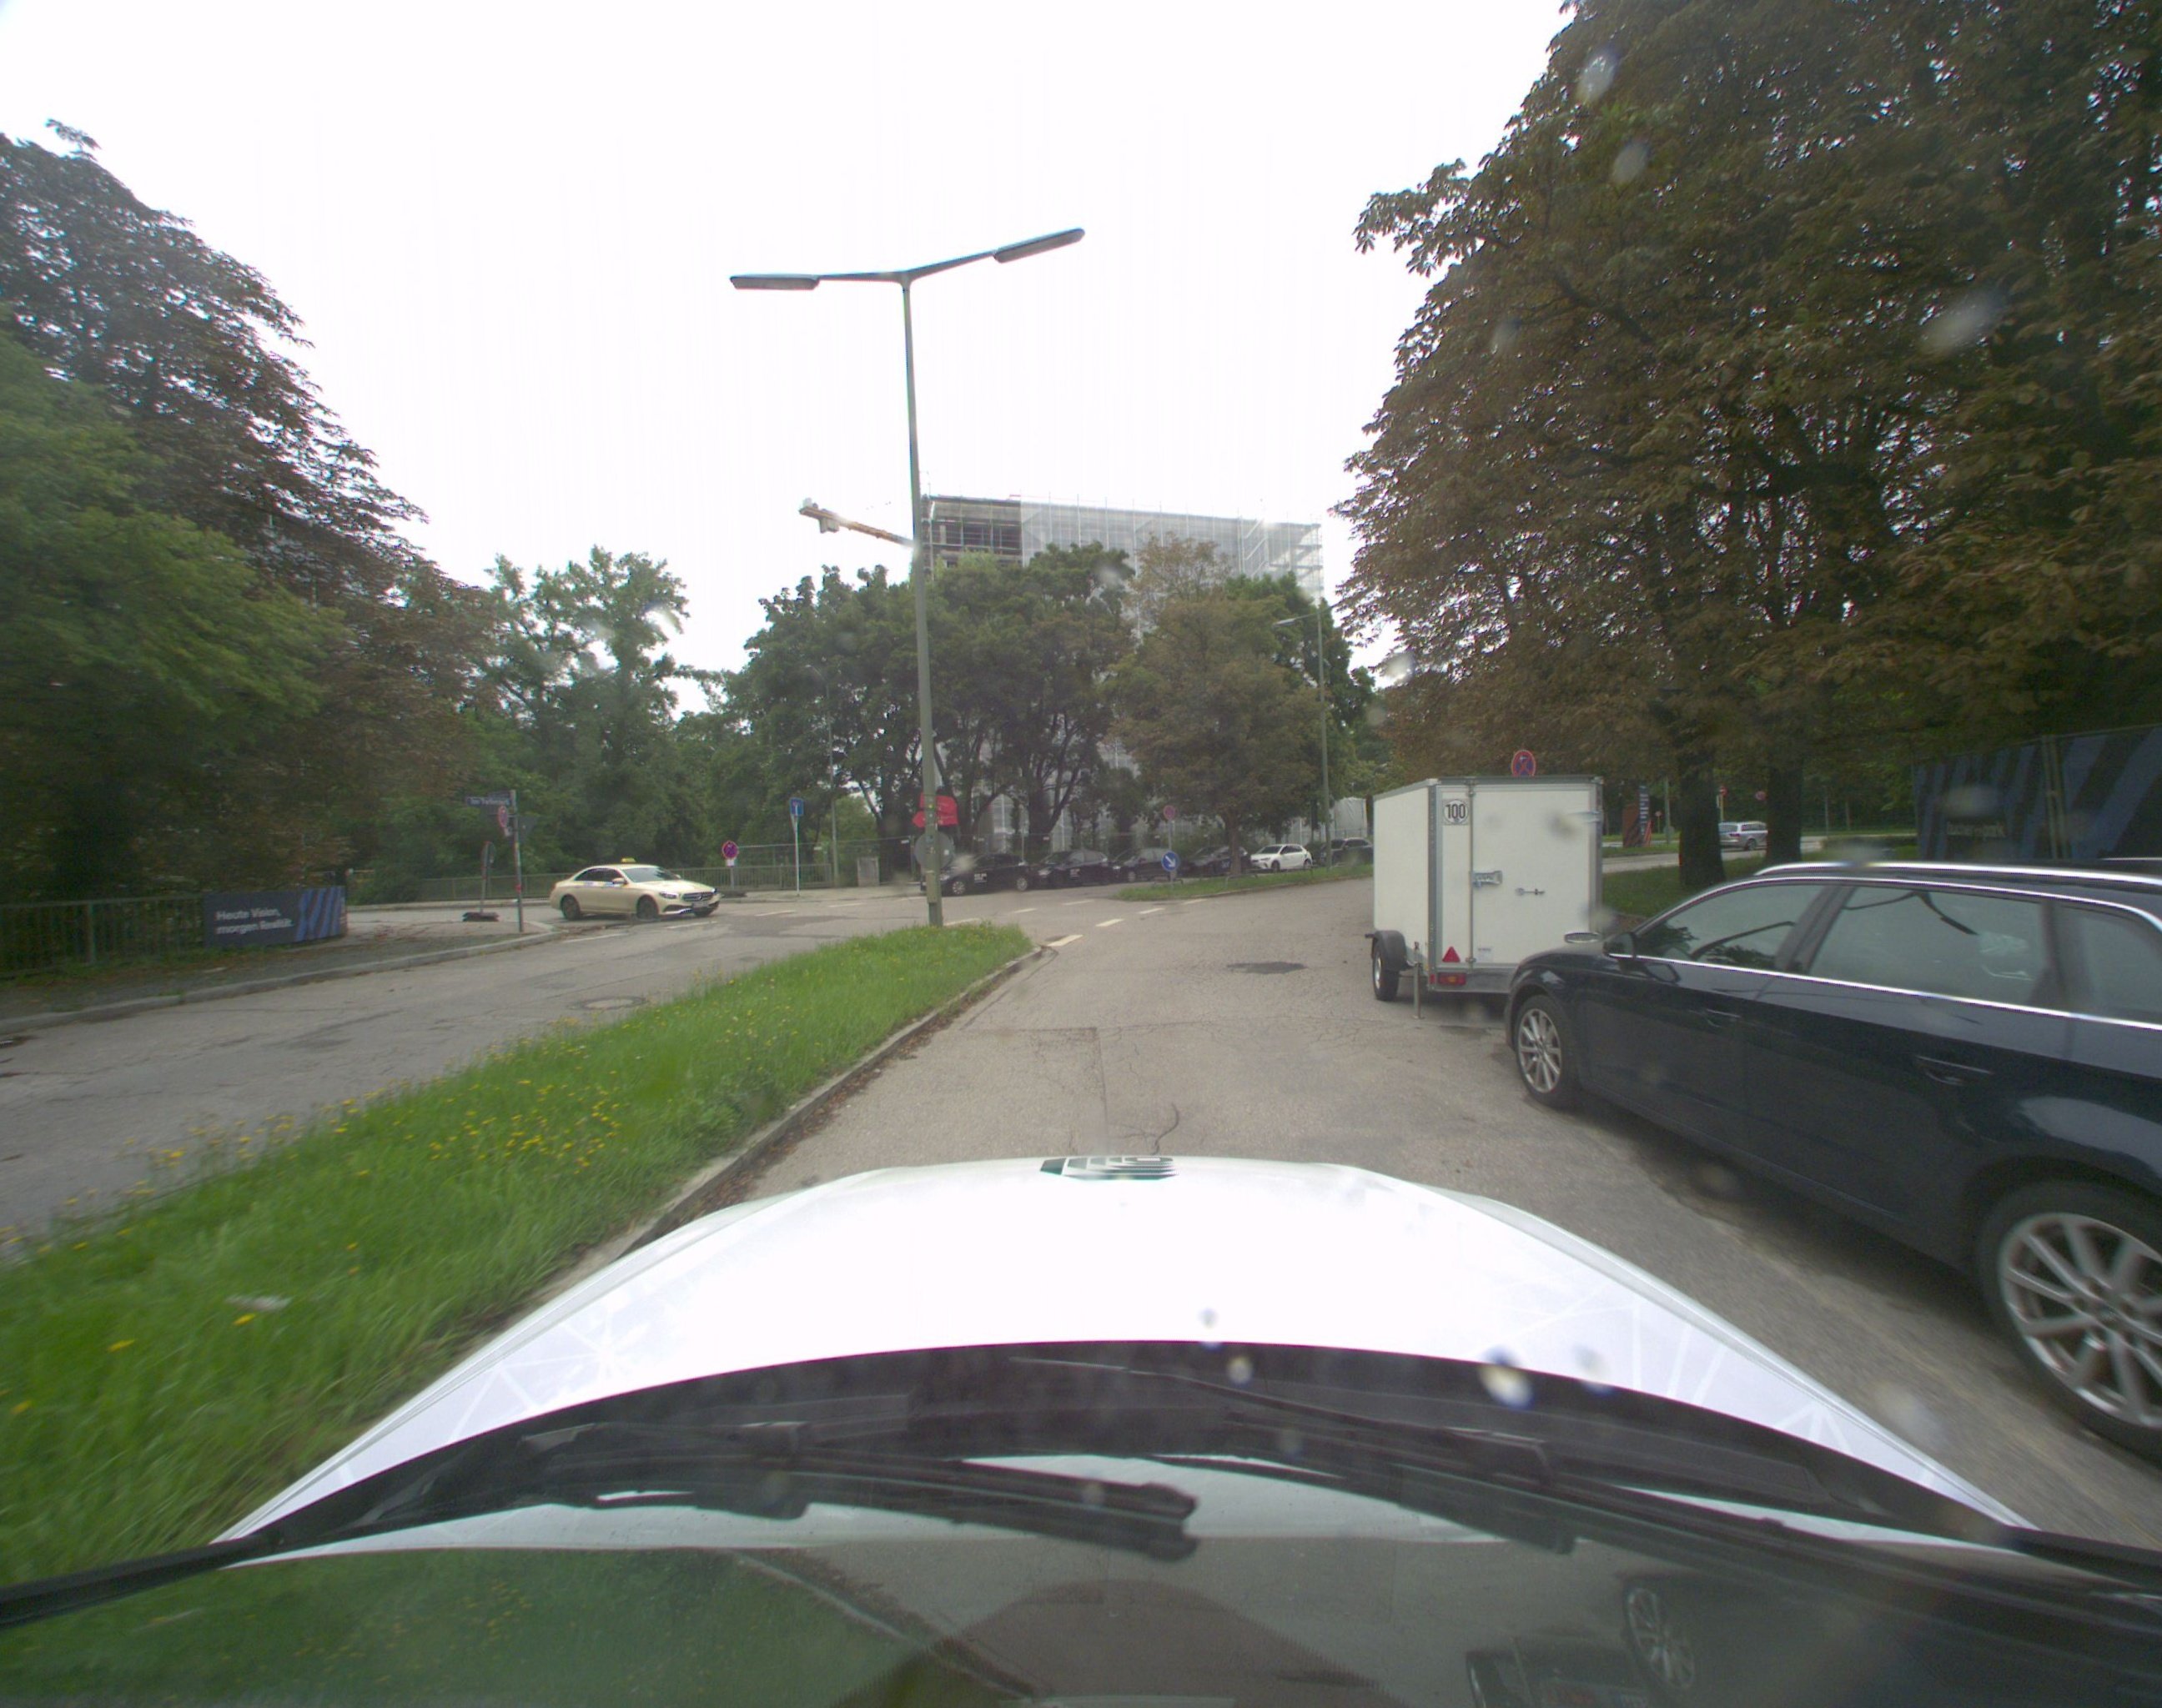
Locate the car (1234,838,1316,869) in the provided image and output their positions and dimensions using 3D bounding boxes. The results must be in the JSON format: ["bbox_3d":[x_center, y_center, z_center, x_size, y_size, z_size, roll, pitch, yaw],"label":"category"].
[{"bbox_3d":[9.841,-0.040,41.236,4.240,1.383,1.781,-3,0,-39],"label":"car"}]

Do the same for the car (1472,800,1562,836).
[{"bbox_3d":[47.218,-3.817,88.575,3.095,3.448,8.661,-2,0,-20],"label":"car"}]

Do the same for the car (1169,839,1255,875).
[{"bbox_3d":[6.176,0.130,38.178,4.028,1.460,1.818,-3,0,-42],"label":"car"}]

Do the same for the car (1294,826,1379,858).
[{"bbox_3d":[13.712,-0.639,43.718,4.410,1.606,1.873,-1,-1,-31],"label":"car"}]

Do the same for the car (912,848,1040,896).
[{"bbox_3d":[-3.687,0.574,28.843,4.064,1.432,1.976,-3,2,-41],"label":"car"}]

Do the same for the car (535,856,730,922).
[{"bbox_3d":[-12.006,0.937,21.815,4.795,1.545,1.904,-2,1,22],"label":"car"}]

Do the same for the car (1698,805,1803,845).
[{"bbox_3d":[33.525,-1.442,40.813,4.118,1.749,1.990,-3,1,-15],"label":"car"}]

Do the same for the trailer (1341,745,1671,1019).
[{"bbox_3d":[3.947,0.218,8.550,1.796,2.013,4.851,-3,0,12],"label":"trailer"}]

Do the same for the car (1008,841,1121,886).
[{"bbox_3d":[-0.619,0.340,31.660,4.022,1.541,1.976,-3,0,-42],"label":"car"}]

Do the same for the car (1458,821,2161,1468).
[{"bbox_3d":[3.466,0.641,3.372,1.865,1.437,4.330,-3,1,2],"label":"car"}]

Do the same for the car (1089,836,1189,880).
[{"bbox_3d":[2.514,0.155,34.995,4.022,1.706,1.976,-3,0,-42],"label":"car"}]
